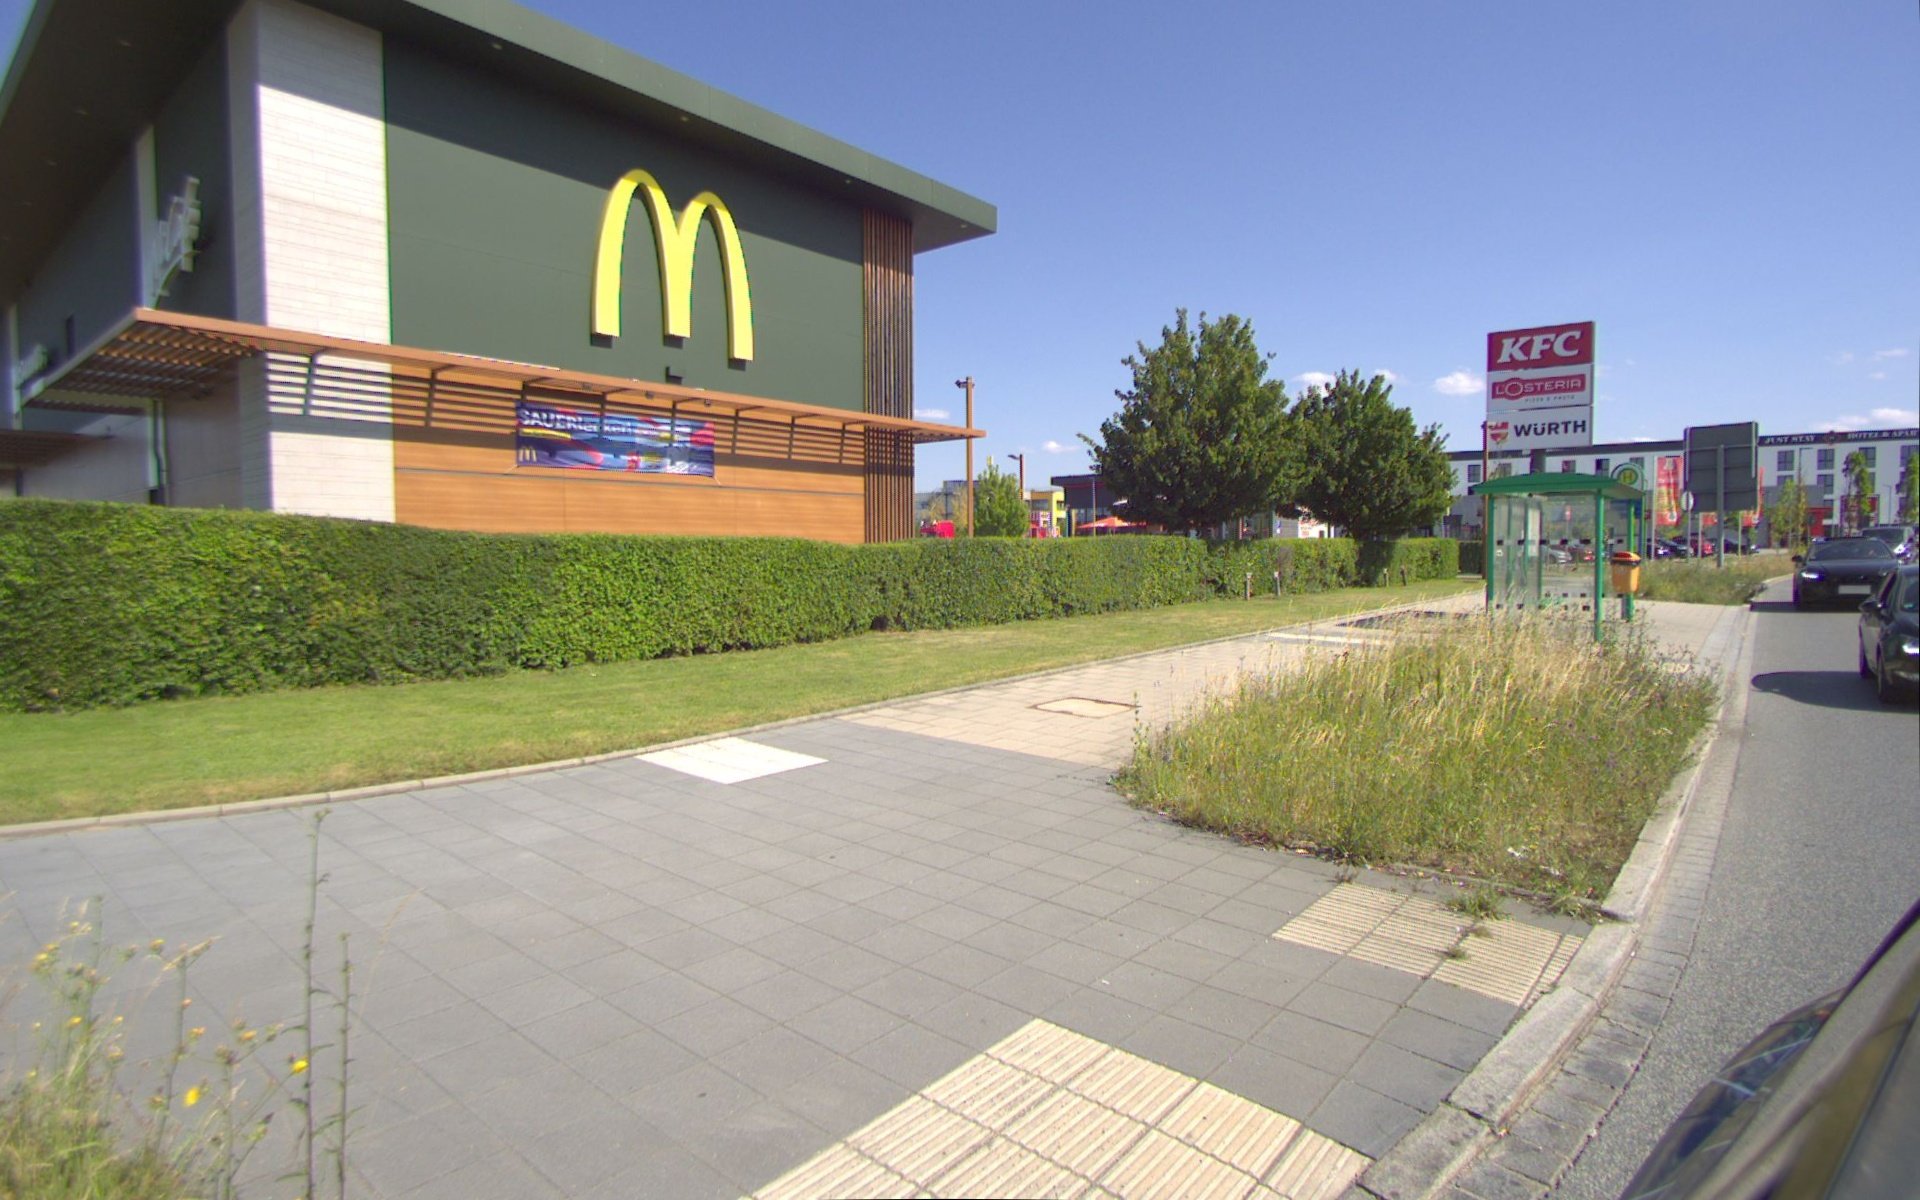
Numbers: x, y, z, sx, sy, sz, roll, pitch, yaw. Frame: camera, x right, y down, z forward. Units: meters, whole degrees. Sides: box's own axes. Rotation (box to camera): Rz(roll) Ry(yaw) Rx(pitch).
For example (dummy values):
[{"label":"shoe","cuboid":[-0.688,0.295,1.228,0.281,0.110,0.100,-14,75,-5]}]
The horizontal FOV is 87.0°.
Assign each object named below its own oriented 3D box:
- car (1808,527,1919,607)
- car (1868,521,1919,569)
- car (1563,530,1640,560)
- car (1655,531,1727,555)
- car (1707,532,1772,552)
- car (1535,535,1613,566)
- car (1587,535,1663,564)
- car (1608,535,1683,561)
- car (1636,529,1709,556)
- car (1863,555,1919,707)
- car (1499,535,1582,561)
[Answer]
[{"label":"car","cuboid":[21.313,-0.808,23.856,1.856,1.709,3.941,-2,2,42]},{"label":"car","cuboid":[43.404,-2.526,46.412,4.603,2.073,2.078,-3,4,-41]},{"label":"car","cuboid":[45.222,-3.880,71.399,1.897,2.038,4.187,-2,3,-35]},{"label":"car","cuboid":[57.031,-4.435,79.011,1.788,1.783,4.191,-2,3,-32]},{"label":"car","cuboid":[63.159,-4.689,82.040,1.724,1.639,3.825,-2,3,-36]},{"label":"car","cuboid":[42.414,-3.408,69.994,1.897,2.038,4.189,-2,3,-34]},{"label":"car","cuboid":[48.220,-3.681,73.431,1.897,2.038,4.188,-2,3,-35]},{"label":"car","cuboid":[50.474,-3.823,74.571,1.768,1.880,4.191,-2,3,-31]},{"label":"car","cuboid":[54.543,-4.396,77.550,1.898,2.038,4.186,-2,3,-37]},{"label":"car","cuboid":[11.283,0.245,11.115,1.854,1.486,3.944,0,2,39]},{"label":"car","cuboid":[38.586,-3.418,67.323,1.901,1.672,4.435,-3,4,-42]}]
